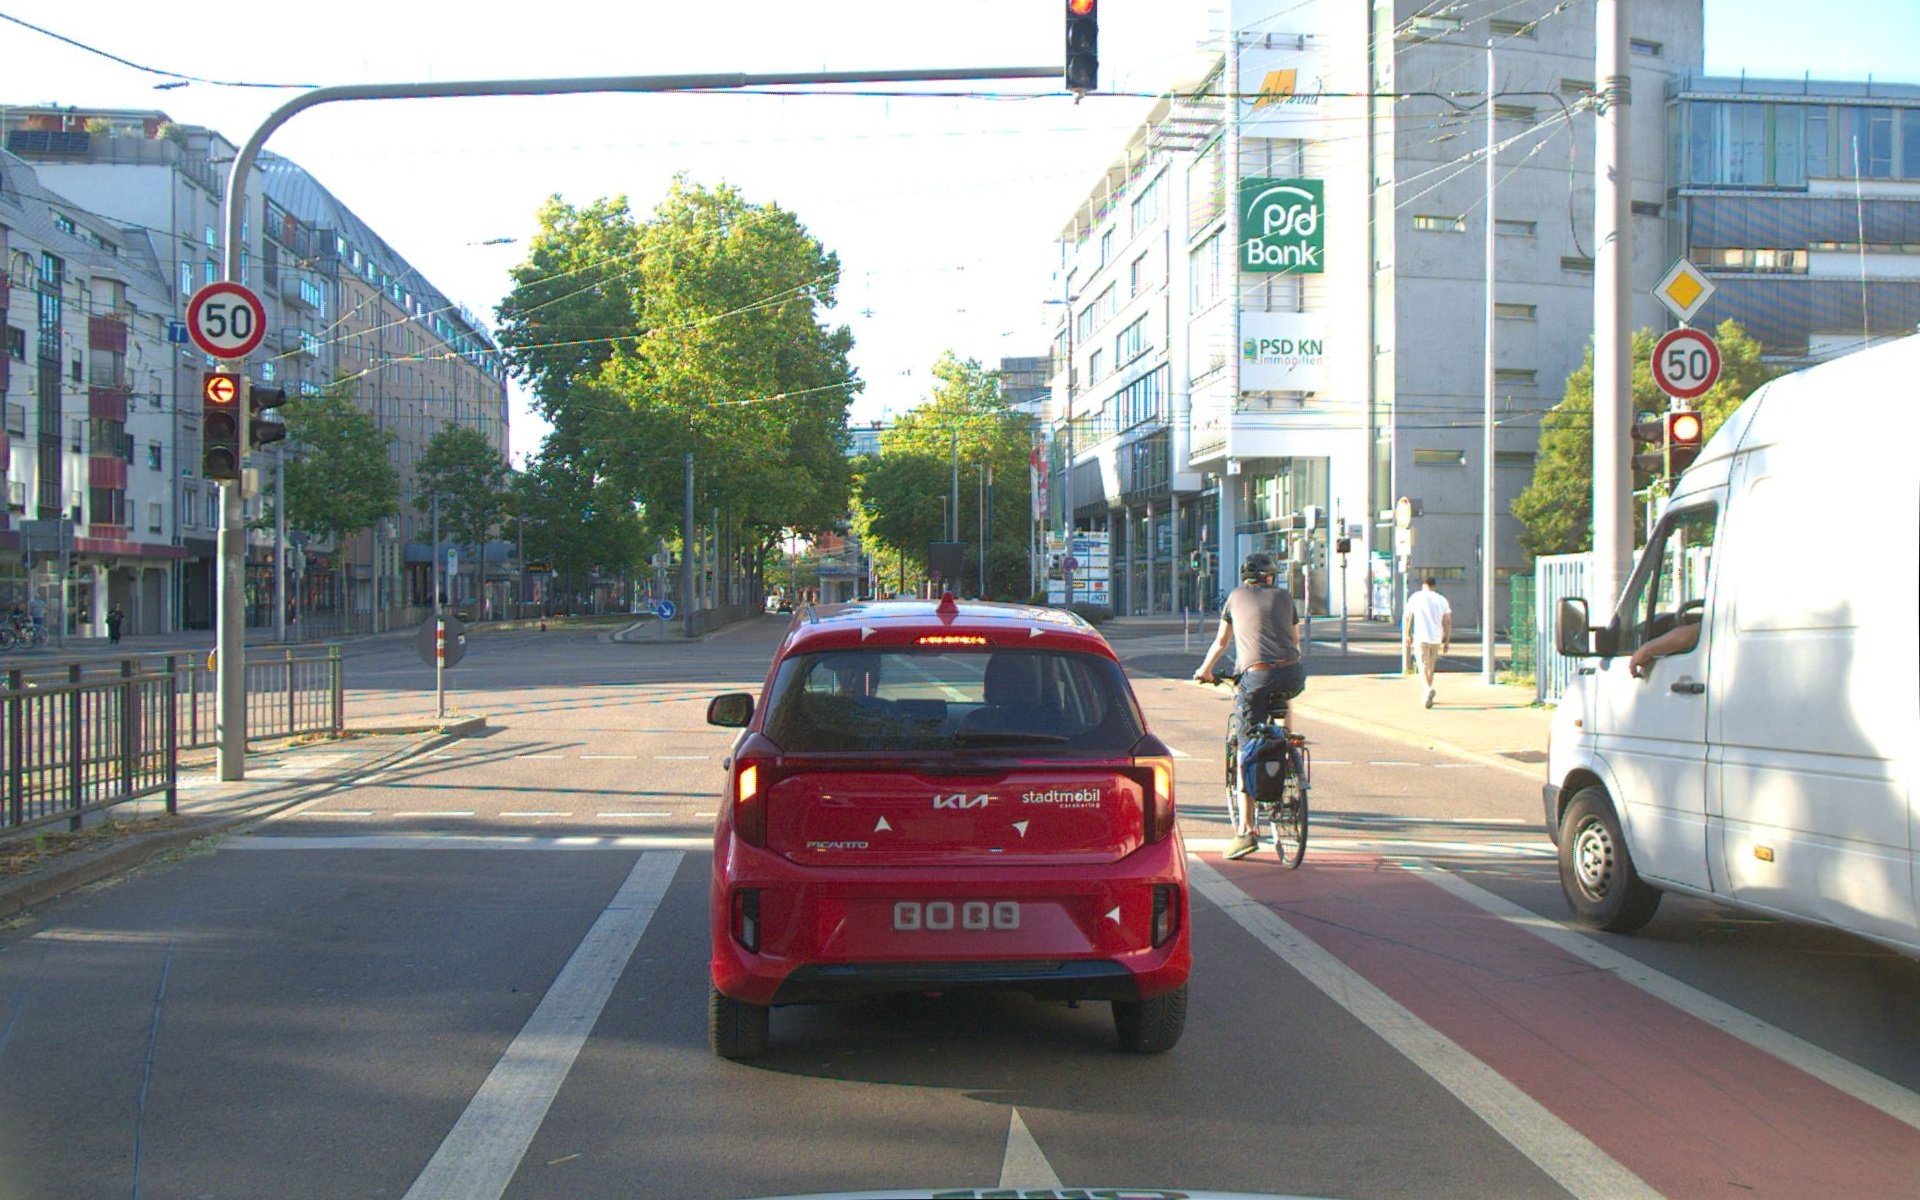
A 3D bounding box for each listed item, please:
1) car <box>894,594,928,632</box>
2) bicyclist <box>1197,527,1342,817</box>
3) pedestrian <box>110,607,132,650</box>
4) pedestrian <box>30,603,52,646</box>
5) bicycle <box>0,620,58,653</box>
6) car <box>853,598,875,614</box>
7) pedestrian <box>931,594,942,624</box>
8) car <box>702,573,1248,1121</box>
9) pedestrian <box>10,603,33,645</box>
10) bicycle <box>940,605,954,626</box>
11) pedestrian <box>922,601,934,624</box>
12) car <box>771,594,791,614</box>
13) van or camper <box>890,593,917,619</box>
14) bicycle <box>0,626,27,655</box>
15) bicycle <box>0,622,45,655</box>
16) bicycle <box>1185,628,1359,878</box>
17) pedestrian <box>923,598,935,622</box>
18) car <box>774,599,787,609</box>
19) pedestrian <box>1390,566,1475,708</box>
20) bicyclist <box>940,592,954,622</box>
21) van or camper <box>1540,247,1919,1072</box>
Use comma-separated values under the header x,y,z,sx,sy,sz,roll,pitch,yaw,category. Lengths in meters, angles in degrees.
x,y,z,sx,sy,sz,roll,pitch,yaw,category
-2.475,0.638,82.859,1.603,1.831,3.327,0,0,-3,car
1.829,0.405,9.909,0.637,1.631,1.088,0,0,-1,bicyclist
-31.020,1.045,61.133,0.684,1.571,1.040,0,0,-26,pedestrian
-33.118,0.876,59.601,0.524,1.520,0.586,0,0,-9,pedestrian
-29.546,1.143,52.164,1.808,1.002,0.552,0,0,-8,bicycle
-9.737,0.625,167.702,1.745,1.561,3.504,0,0,-10,car
-1.363,0.525,97.416,0.633,1.710,0.651,0,0,0,pedestrian
-0.098,0.705,6.495,1.582,1.561,3.408,0,0,-5,car
-33.778,0.864,59.521,0.524,1.520,0.586,0,0,-9,pedestrian
-0.729,0.888,94.372,0.682,1.117,1.751,-4,1,0,bicycle
-2.469,0.982,127.287,0.873,1.783,0.841,0,0,-1,pedestrian
-19.005,0.425,175.257,1.956,2.049,3.992,0,0,-8,car
-4.540,0.497,132.217,1.954,2.024,4.740,0,0,-4,van or camper
-29.453,1.241,50.283,1.806,0.869,0.553,0,0,-4,bicycle
-29.603,1.200,51.547,1.808,1.002,0.552,0,0,-8,bicycle
1.825,0.845,9.933,0.637,1.303,1.965,0,0,-1,bicycle
-2.186,0.709,116.390,0.630,1.607,0.722,-4,0,-7,pedestrian
-27.773,0.642,255.403,1.745,1.561,3.403,0,0,-10,car
6.363,0.480,22.329,0.761,1.855,1.215,0,0,-1,pedestrian
-0.755,0.397,94.304,0.707,1.631,1.089,-3,0,0,bicyclist
4.187,0.205,5.504,1.930,2.763,6.300,1,0,-4,van or camper
